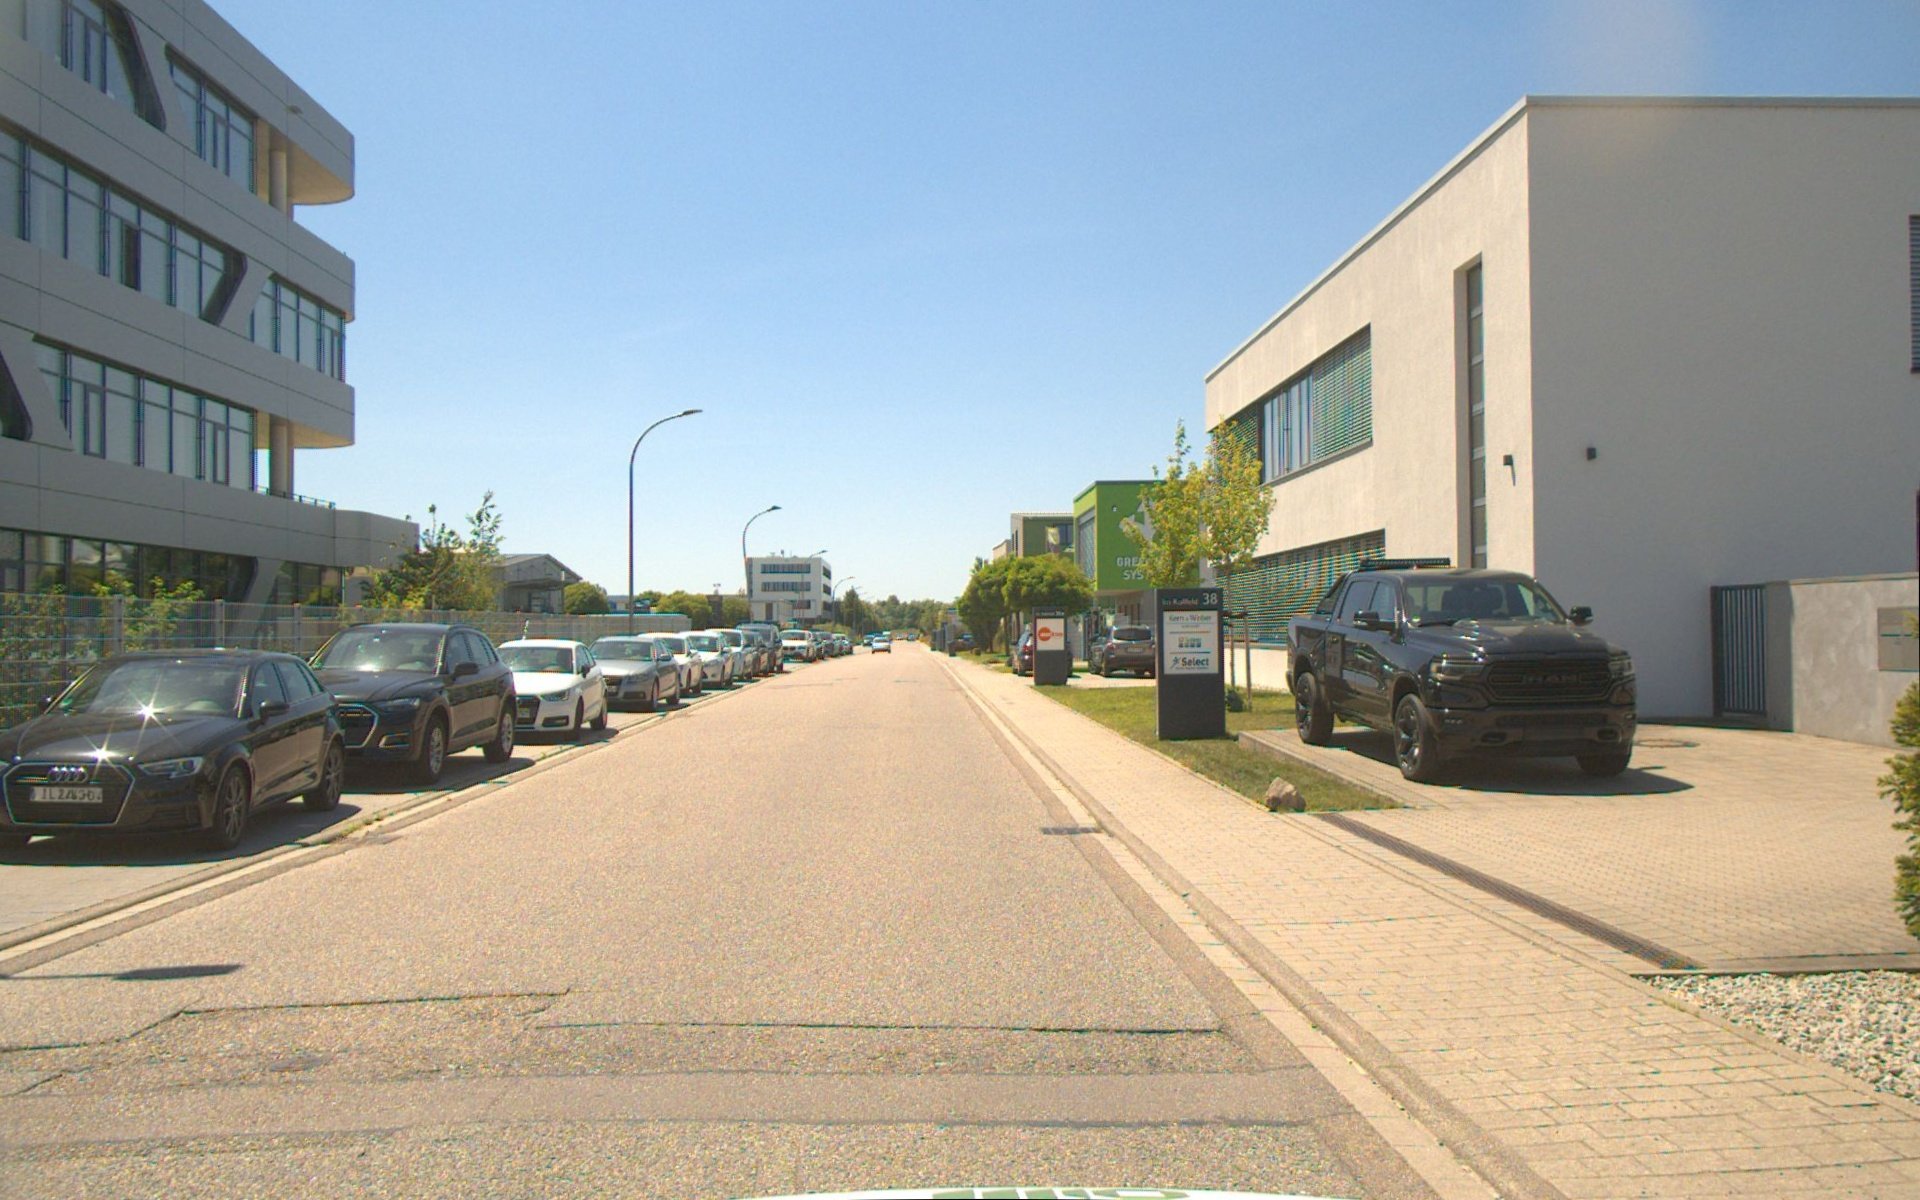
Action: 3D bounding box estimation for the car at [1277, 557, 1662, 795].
[{"bbox_3d":[5.022,0.644,17.374,1.954,2.049,5.796,-1,0,-3],"label":"car"}]

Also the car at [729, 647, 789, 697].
[{"bbox_3d":[-7.392,2.640,61.165,1.766,1.750,4.620,1,-2,-2],"label":"car"}]

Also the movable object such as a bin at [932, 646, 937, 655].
[{"bbox_3d":[-2.956,5.834,190.803,0.541,0.944,0.522,-5,-1,2],"label":"movable object such as a bin"}]

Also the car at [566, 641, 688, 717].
[{"bbox_3d":[-6.714,1.559,33.805,1.650,1.410,4.637,0,-1,-1],"label":"car"}]

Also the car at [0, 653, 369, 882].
[{"bbox_3d":[-6.253,1.203,13.325,1.735,1.492,4.182,0,-1,-4],"label":"car"}]

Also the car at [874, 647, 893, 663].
[{"bbox_3d":[-7.038,5.081,152.201,1.670,1.436,4.781,0,-2,-2],"label":"car"}]

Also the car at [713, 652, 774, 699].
[{"bbox_3d":[-7.358,2.542,56.418,1.601,1.527,3.970,1,-2,-1],"label":"car"}]

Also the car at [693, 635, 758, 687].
[{"bbox_3d":[-7.239,1.883,51.330,1.602,1.563,3.655,1,-2,-3],"label":"car"}]

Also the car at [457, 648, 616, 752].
[{"bbox_3d":[-6.314,1.451,25.017,1.666,1.410,3.933,0,-1,-5],"label":"car"}]

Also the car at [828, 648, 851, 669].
[{"bbox_3d":[-9.660,4.674,132.672,1.734,1.620,4.356,1,-2,-3],"label":"car"}]

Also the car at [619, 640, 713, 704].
[{"bbox_3d":[-7.127,1.737,40.485,1.669,1.469,4.436,1,-2,-3],"label":"car"}]

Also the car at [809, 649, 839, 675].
[{"bbox_3d":[-8.836,4.064,107.576,1.755,1.635,4.459,1,-2,-3],"label":"car"}]

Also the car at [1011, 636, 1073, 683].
[{"bbox_3d":[2.602,1.904,53.132,1.658,1.453,4.244,0,-2,-2],"label":"car"}]

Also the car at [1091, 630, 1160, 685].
[{"bbox_3d":[5.259,1.830,52.928,1.688,1.662,4.020,0,-2,-2],"label":"car"}]

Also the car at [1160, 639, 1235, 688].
[{"bbox_3d":[7.479,1.996,52.429,1.688,1.475,4.020,0,-2,-2],"label":"car"}]

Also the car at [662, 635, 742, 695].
[{"bbox_3d":[-7.091,1.784,45.872,1.669,1.563,4.569,1,-2,-3],"label":"car"}]

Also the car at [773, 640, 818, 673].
[{"bbox_3d":[-8.054,2.776,81.295,1.750,1.569,4.363,0,-2,0],"label":"car"}]

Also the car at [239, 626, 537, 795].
[{"bbox_3d":[-6.324,1.147,18.931,1.733,1.680,4.850,0,-1,0],"label":"car"}]
